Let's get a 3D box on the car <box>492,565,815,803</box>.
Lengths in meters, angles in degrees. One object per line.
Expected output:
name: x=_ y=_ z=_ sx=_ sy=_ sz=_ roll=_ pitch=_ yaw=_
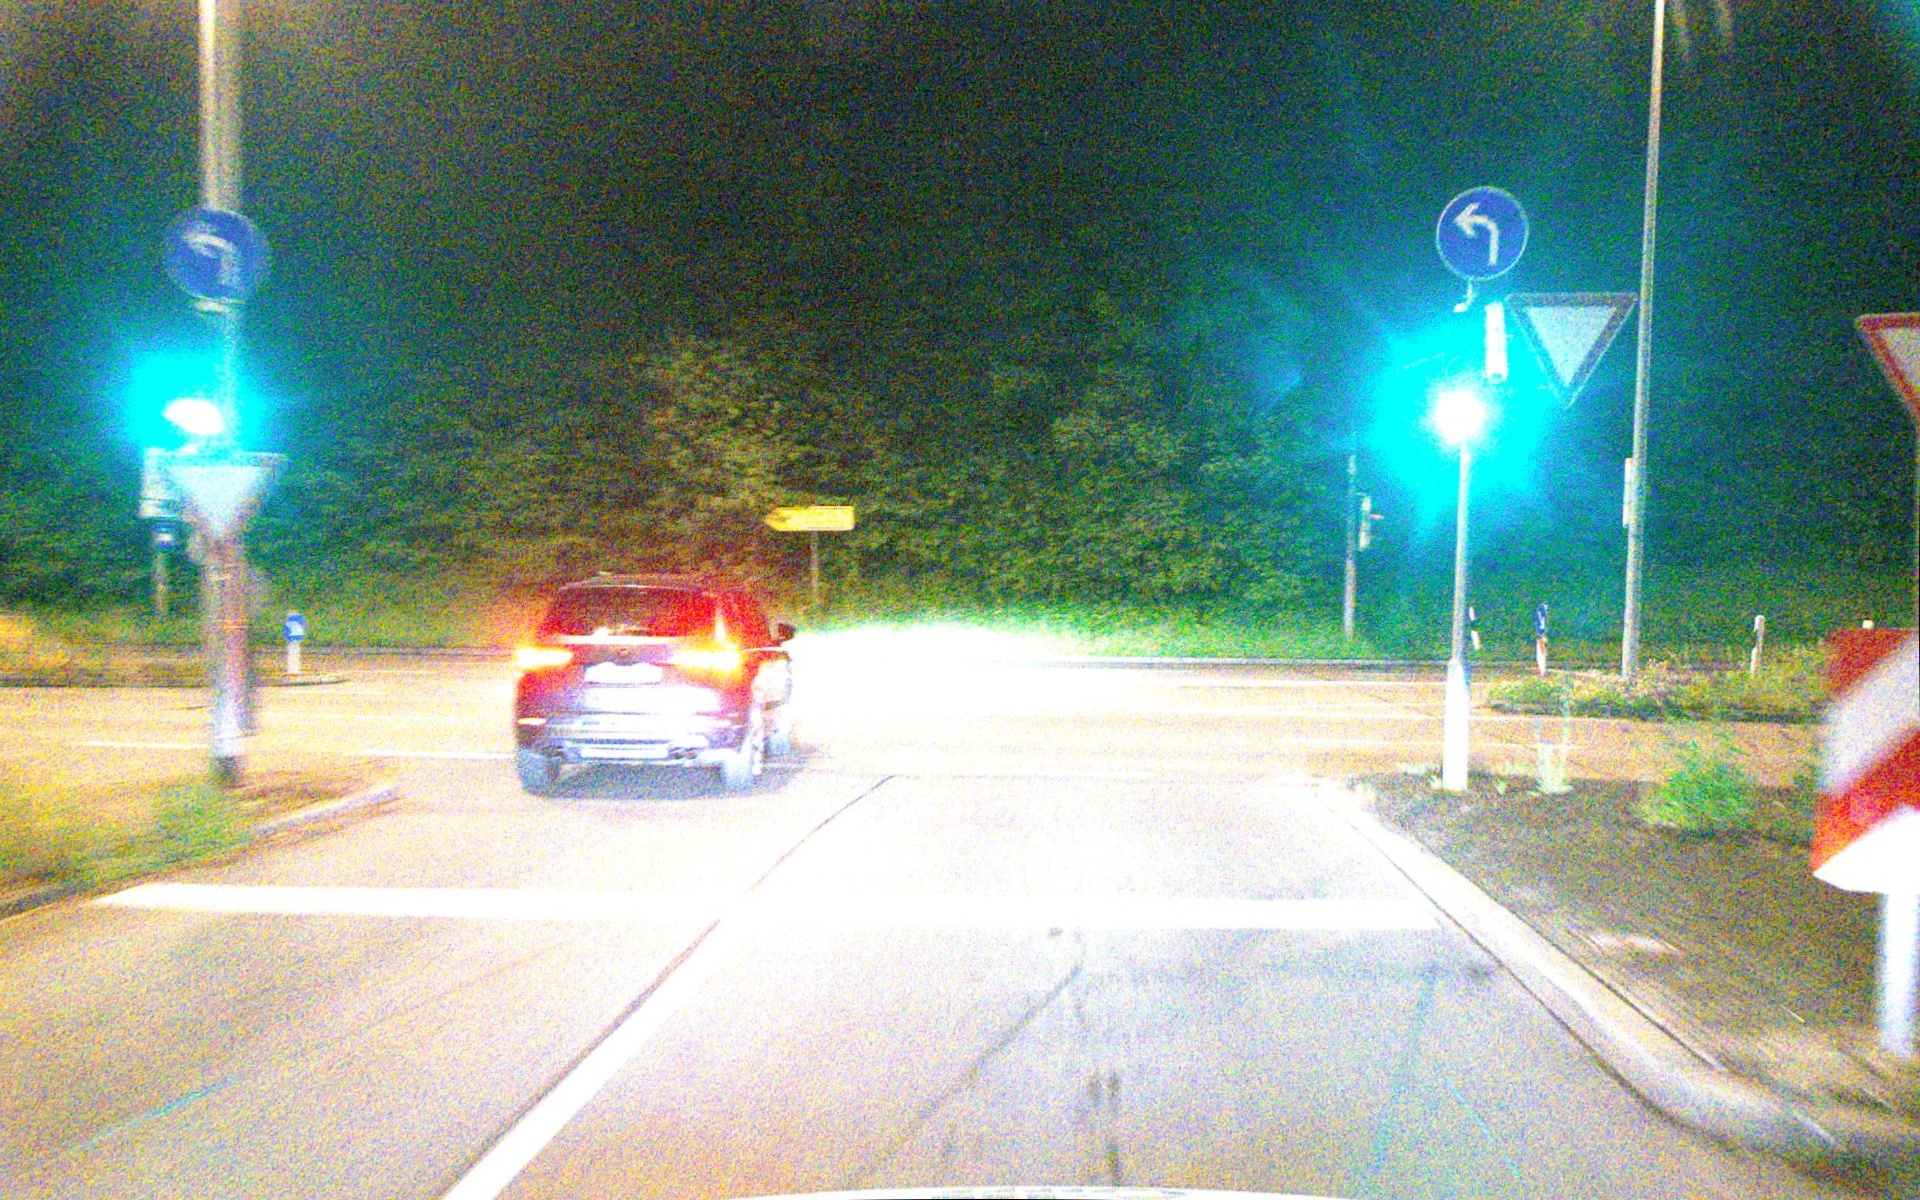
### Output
car: x=-2.305 y=0.570 z=13.498 sx=1.814 sy=1.610 sz=4.007 roll=1 pitch=0 yaw=1
